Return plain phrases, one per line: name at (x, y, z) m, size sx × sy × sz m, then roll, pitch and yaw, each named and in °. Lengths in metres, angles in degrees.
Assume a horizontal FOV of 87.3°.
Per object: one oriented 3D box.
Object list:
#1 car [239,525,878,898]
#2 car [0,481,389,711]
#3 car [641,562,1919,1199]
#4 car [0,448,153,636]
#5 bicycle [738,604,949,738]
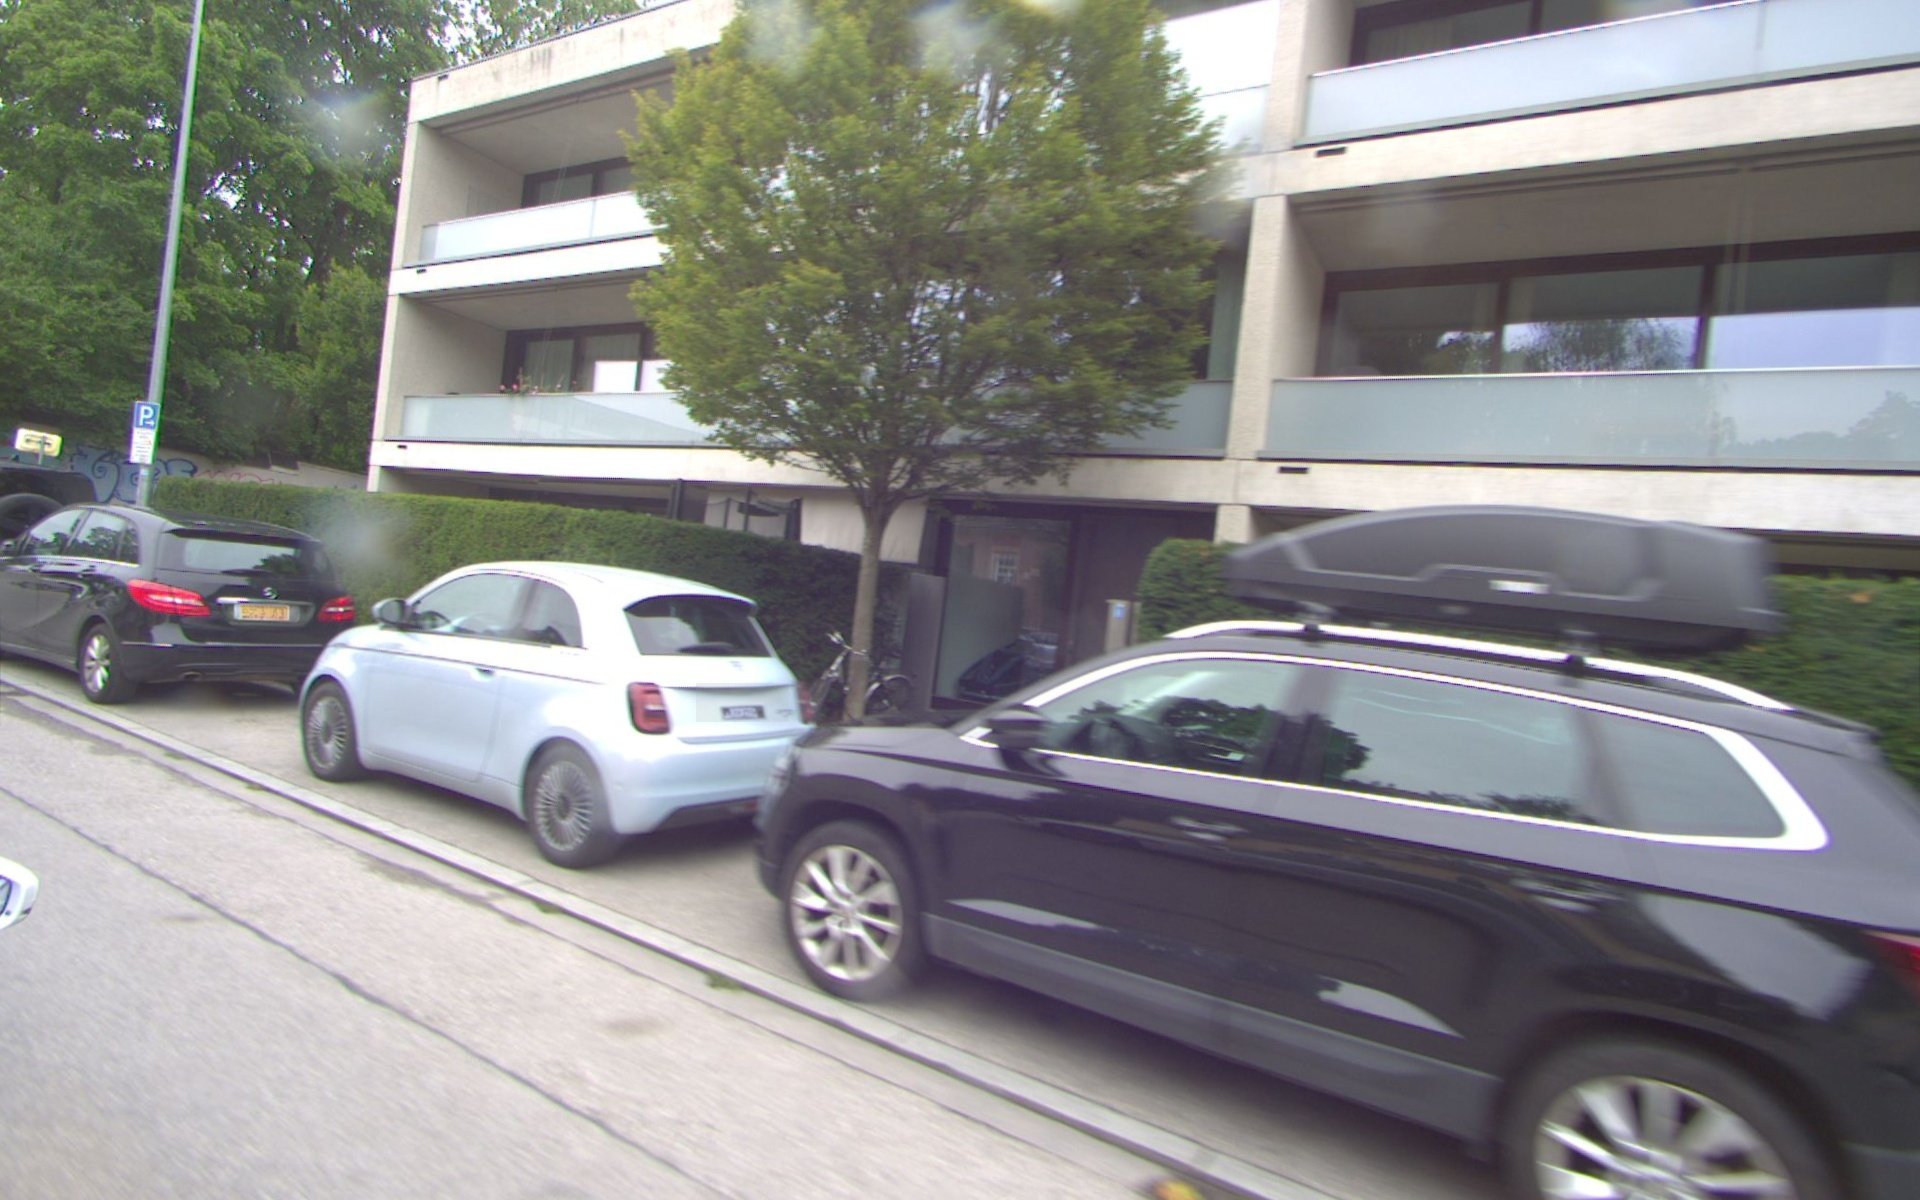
car at (-2.652, 0.509, 6.439) m, size 3.823 × 1.499 × 1.750 m, roll 7°, pitch 0°, yaw 31°
car at (-7.494, -0.134, 9.239) m, size 4.491 × 1.558 × 1.751 m, roll 7°, pitch 0°, yaw 29°
car at (1.076, 0.900, 3.868) m, size 4.521 × 1.498 × 1.750 m, roll 7°, pitch 0°, yaw 32°
car at (-12.004, -0.832, 11.899) m, size 4.991 × 1.894 × 1.992 m, roll 6°, pitch -1°, yaw 29°
bicycle at (-1.194, 0.771, 10.661) m, size 0.882 × 1.210 × 2.028 m, roll 7°, pitch 0°, yaw 43°
